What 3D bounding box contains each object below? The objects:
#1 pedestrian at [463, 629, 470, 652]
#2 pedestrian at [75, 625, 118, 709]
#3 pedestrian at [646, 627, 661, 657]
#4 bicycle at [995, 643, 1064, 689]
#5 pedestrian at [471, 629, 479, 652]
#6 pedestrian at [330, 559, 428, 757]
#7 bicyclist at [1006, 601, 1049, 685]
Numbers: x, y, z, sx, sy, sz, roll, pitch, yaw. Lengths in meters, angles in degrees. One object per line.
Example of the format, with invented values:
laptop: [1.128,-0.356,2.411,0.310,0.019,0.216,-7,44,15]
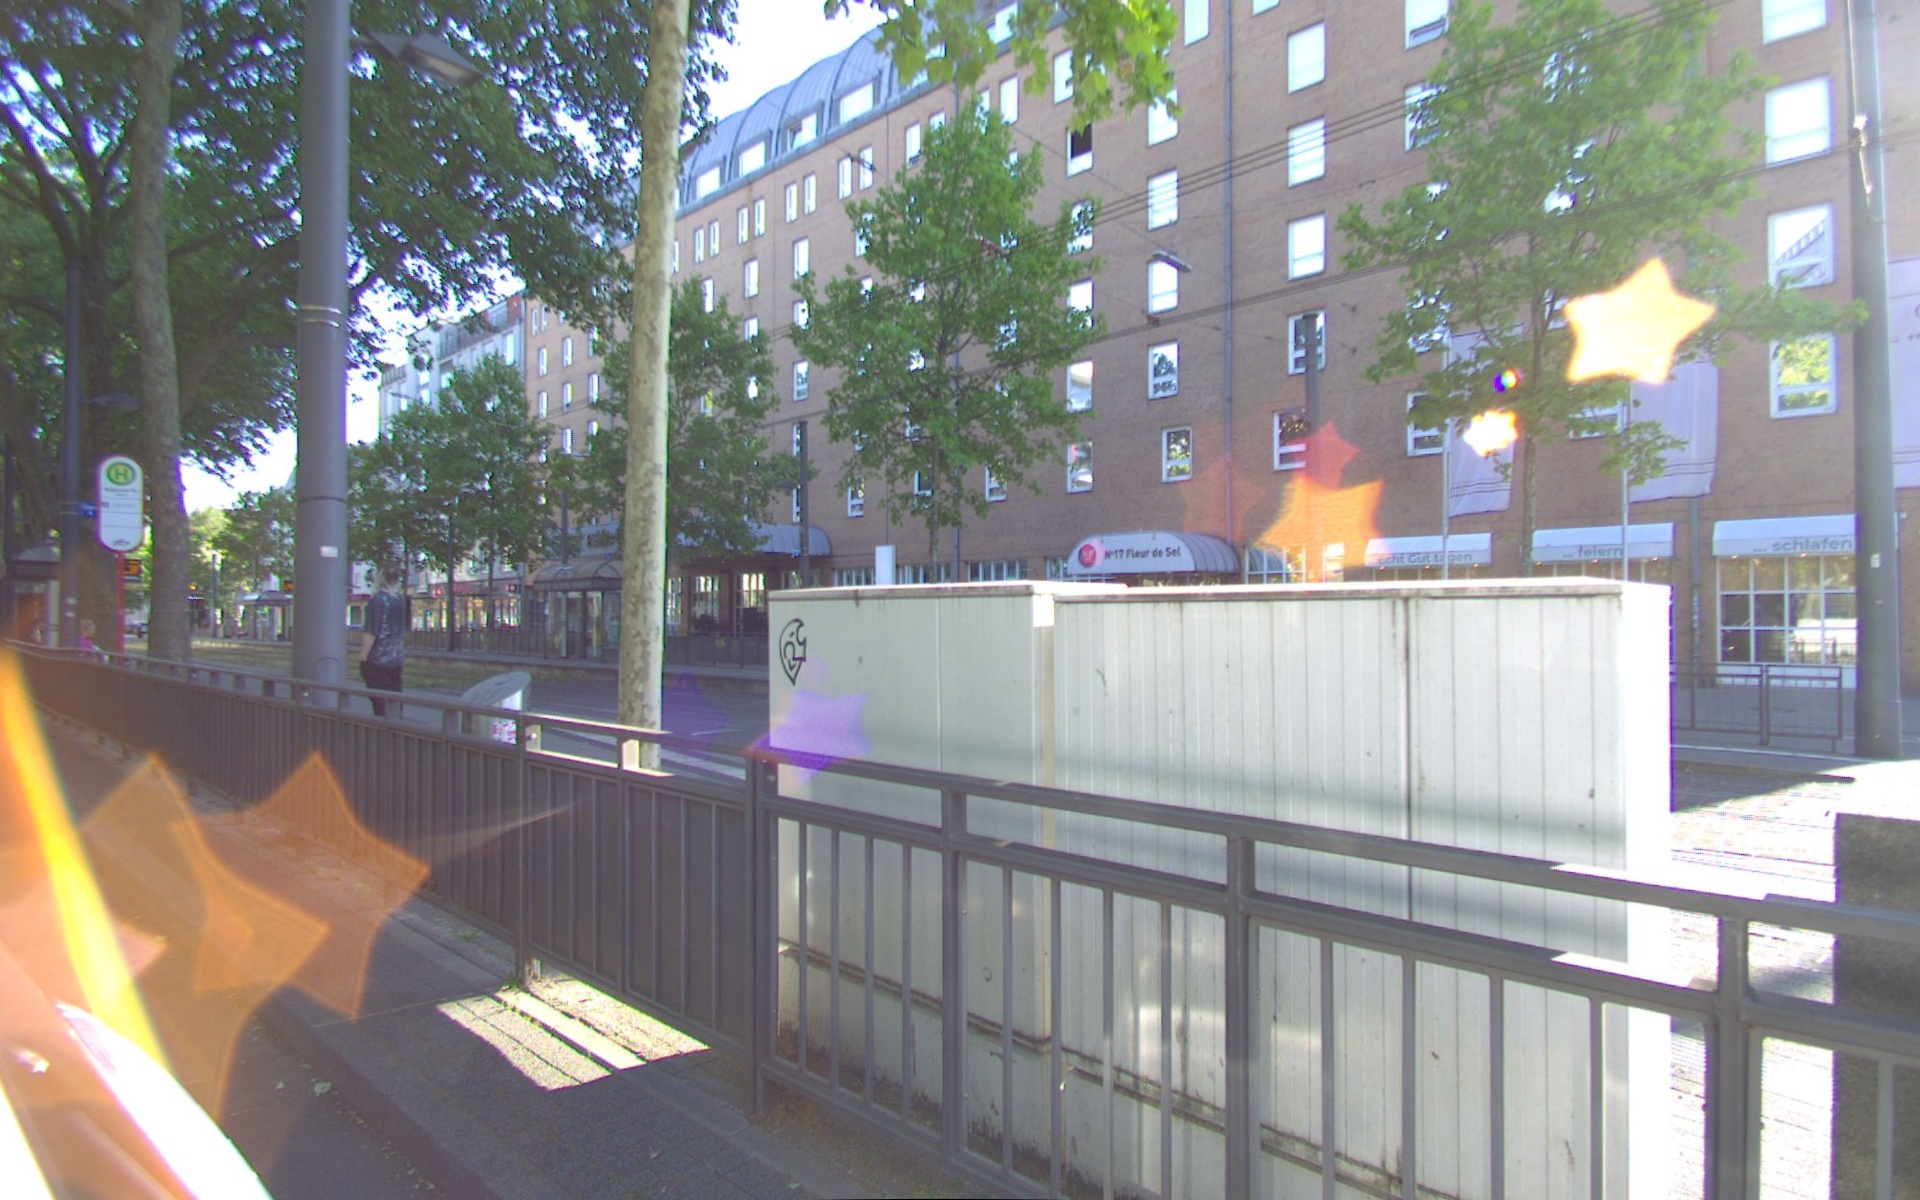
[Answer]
pedestrian: [-33.748,2.770,69.221,0.431,1.518,0.660,1,-2,-27]
pedestrian: [-13.944,1.063,16.340,0.493,1.325,0.419,1,-2,-41]
pedestrian: [-15.093,2.072,49.877,0.516,1.447,0.512,-2,-2,44]
bicycle: [1.599,1.504,23.504,0.444,1.012,1.754,2,-2,-44]
pedestrian: [-33.288,2.791,69.487,0.431,1.532,0.660,1,-2,-27]
pedestrian: [-5.783,0.550,10.080,0.620,1.897,0.600,1,0,30]
bicyclist: [1.564,0.987,23.425,0.564,1.918,0.814,2,-2,-43]
